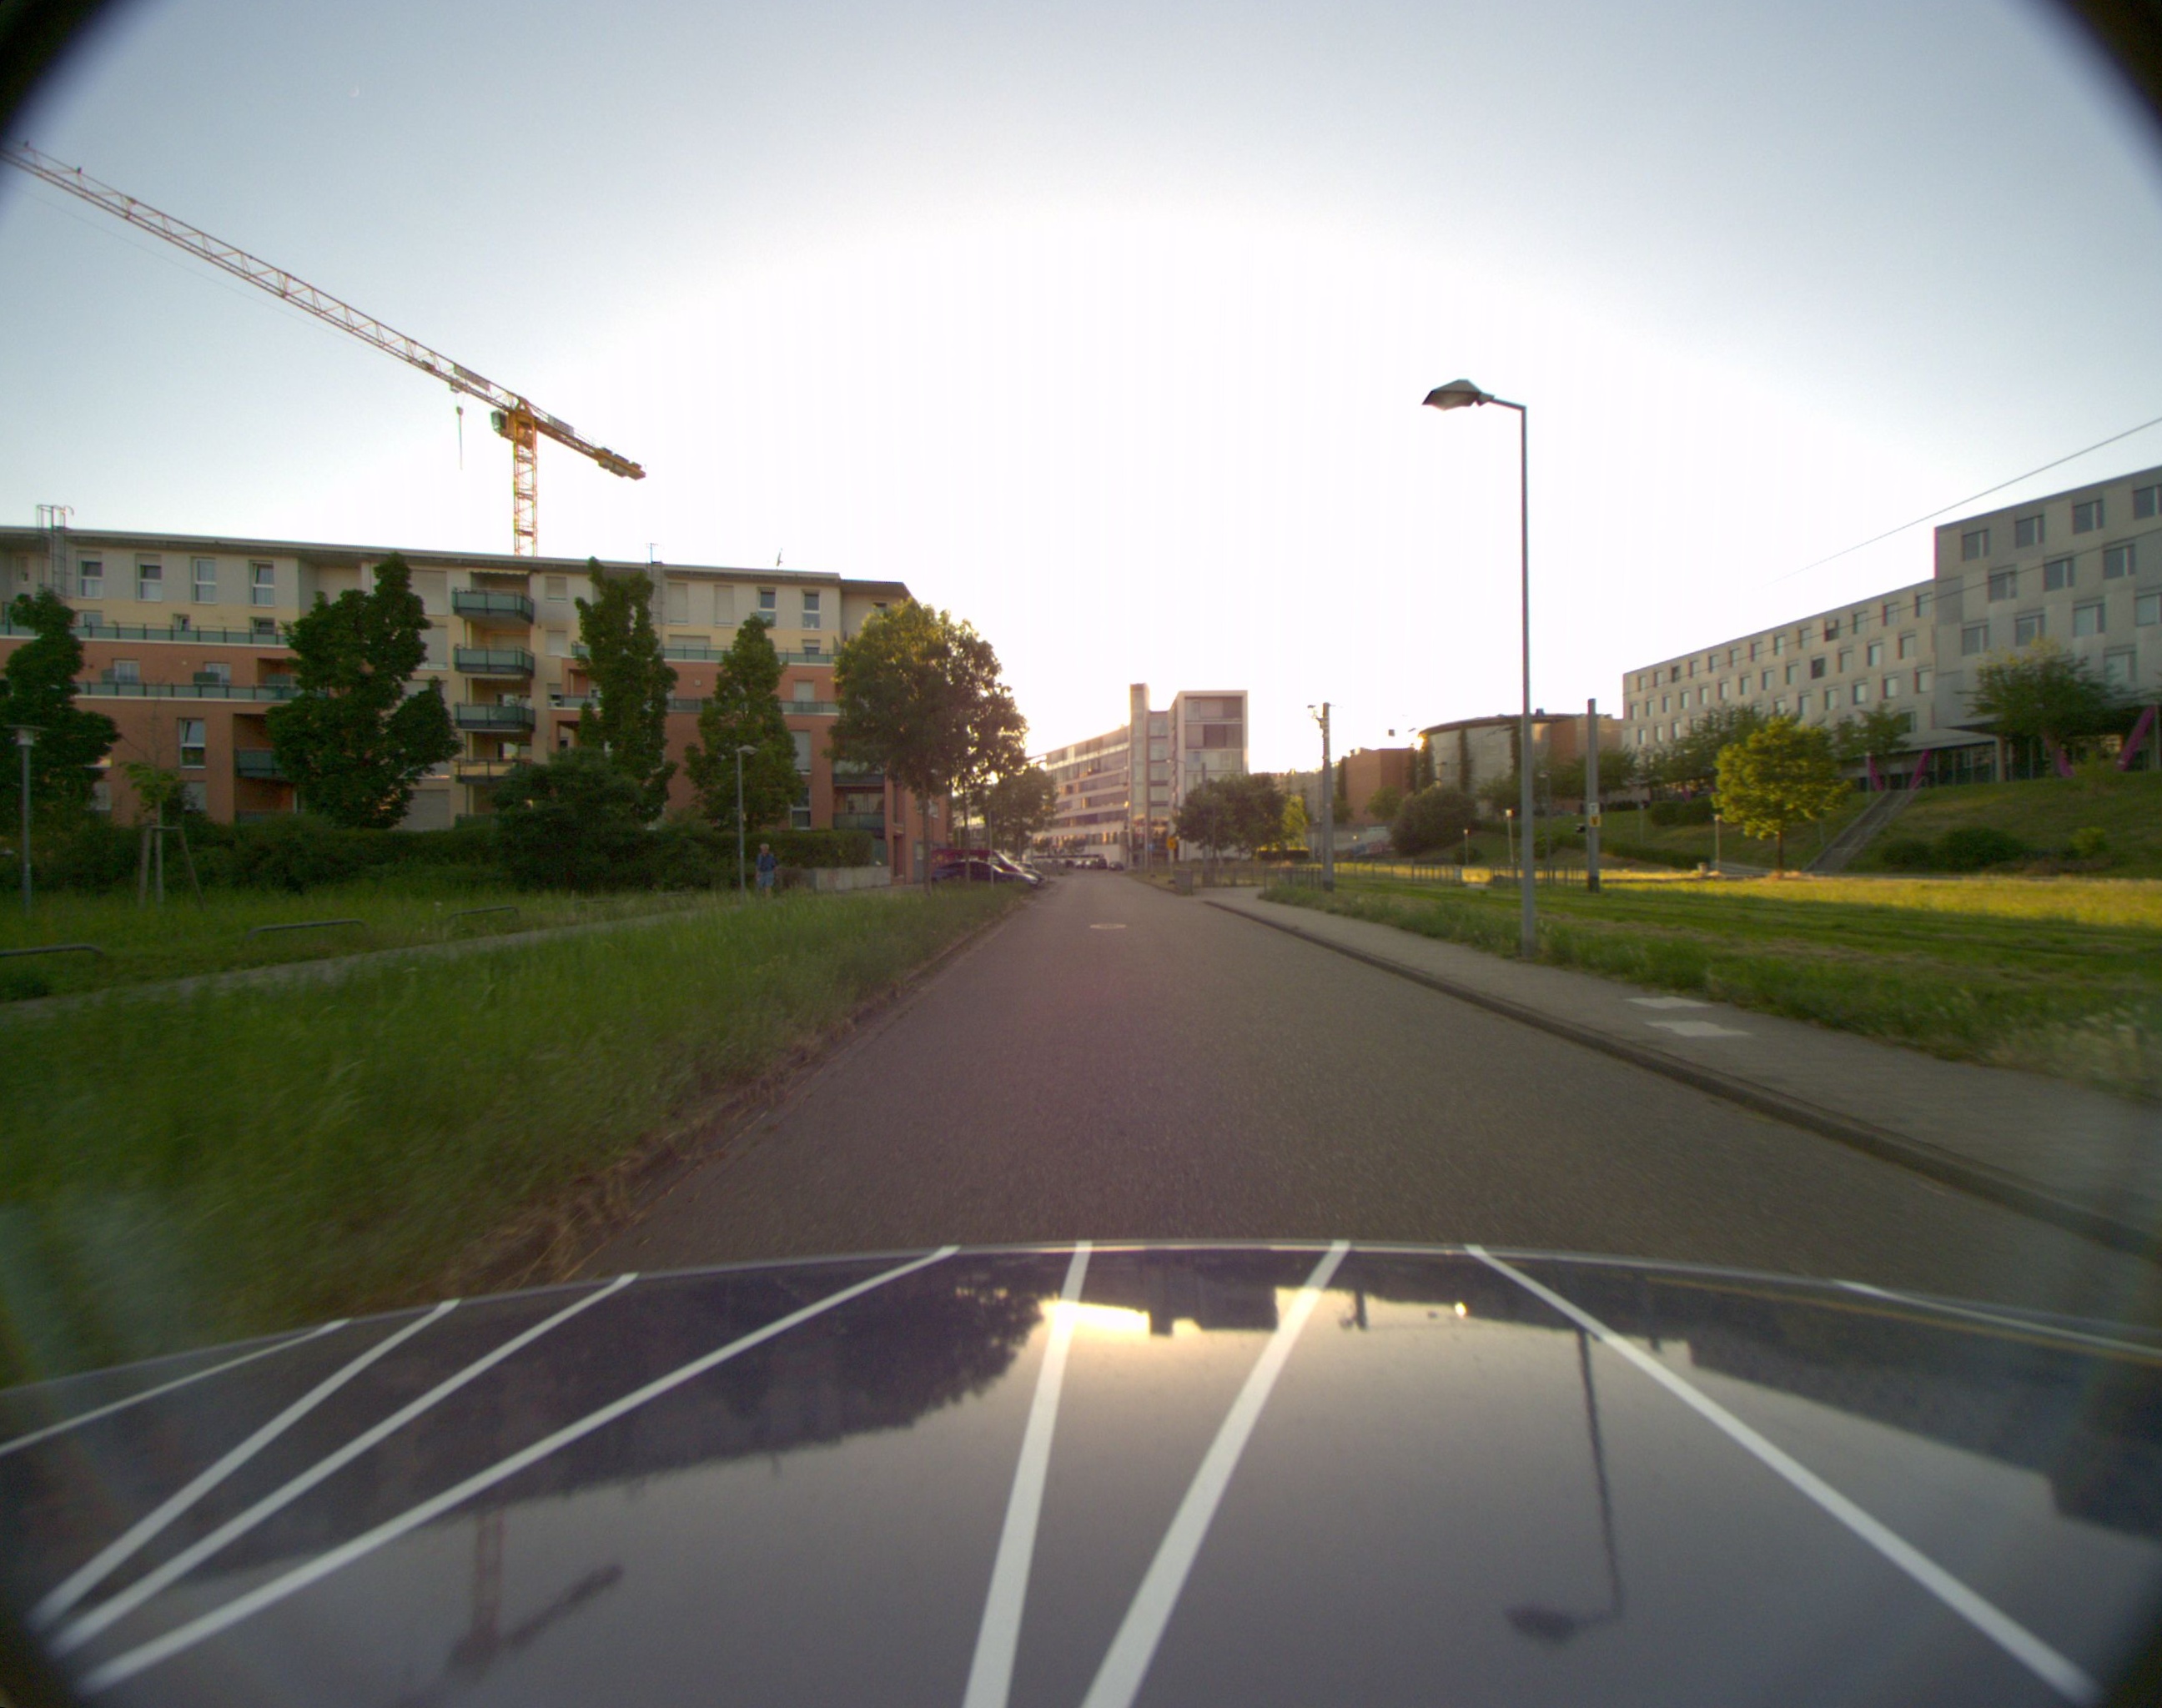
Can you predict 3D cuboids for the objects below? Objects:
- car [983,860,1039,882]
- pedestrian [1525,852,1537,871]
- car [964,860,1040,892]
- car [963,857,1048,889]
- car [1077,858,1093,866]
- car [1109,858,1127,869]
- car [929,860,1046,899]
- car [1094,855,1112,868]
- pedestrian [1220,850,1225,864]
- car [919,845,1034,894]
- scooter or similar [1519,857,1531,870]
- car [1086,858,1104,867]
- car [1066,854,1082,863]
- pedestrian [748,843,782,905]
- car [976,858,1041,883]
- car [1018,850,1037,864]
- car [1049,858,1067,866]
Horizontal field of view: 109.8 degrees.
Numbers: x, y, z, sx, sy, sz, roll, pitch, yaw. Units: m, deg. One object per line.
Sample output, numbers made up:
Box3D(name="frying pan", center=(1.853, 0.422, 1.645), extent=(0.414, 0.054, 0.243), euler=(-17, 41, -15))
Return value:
Box3D(name="car", center=(-4.837, 1.157, 52.559), extent=(3.760, 1.465, 1.612), euler=(-1, 1, -4))
Box3D(name="pedestrian", center=(43.588, 0.712, 73.560), extent=(0.618, 1.826, 0.790), euler=(-3, 1, -1))
Box3D(name="car", center=(-3.837, 1.047, 37.288), extent=(3.534, 1.456, 1.615), euler=(1, 0, 1))
Box3D(name="car", center=(-3.915, 0.952, 39.738), extent=(4.226, 1.559, 1.792), euler=(1, 0, 1))
Box3D(name="car", center=(0.637, 1.408, 133.662), extent=(1.655, 1.468, 3.760), euler=(-1, 0, -19))
Box3D(name="car", center=(5.428, 1.374, 112.985), extent=(1.858, 1.433, 4.225), euler=(-3, 0, -9))
Box3D(name="car", center=(-3.885, 1.036, 32.045), extent=(4.681, 1.547, 1.811), euler=(-1, 0, 0))
Box3D(name="car", center=(3.565, 1.197, 124.263), extent=(1.895, 1.961, 4.514), euler=(-3, 0, -10))
Box3D(name="pedestrian", center=(18.671, 0.360, 100.447), extent=(0.450, 1.826, 0.483), euler=(-3, 1, -20))
Box3D(name="car", center=(-4.709, 0.693, 34.822), extent=(4.931, 2.104, 2.017), euler=(-1, 0, 2))
Box3D(name="scooter or similar", center=(43.547, 0.918, 74.483), extent=(0.618, 1.236, 0.790), euler=(-3, 0, -1))
Box3D(name="car", center=(2.339, 1.398, 129.038), extent=(1.867, 1.468, 4.514), euler=(-3, 0, -16))
Box3D(name="car", center=(-1.364, 0.815, 142.030), extent=(1.799, 1.676, 3.993), euler=(-1, 0, -19))
Box3D(name="pedestrian", center=(-9.130, 0.571, 21.981), extent=(0.670, 1.733, 0.699), euler=(-1, 0, 0))
Box3D(name="car", center=(-4.732, 1.051, 49.978), extent=(4.060, 1.559, 1.673), euler=(1, 0, 1))
Box3D(name="car", center=(-11.280, 0.721, 160.698), extent=(2.008, 2.858, 6.243), euler=(0, -1, -24))
Box3D(name="car", center=(-4.532, 1.512, 148.080), extent=(1.800, 1.542, 3.991), euler=(-3, 1, -27))
